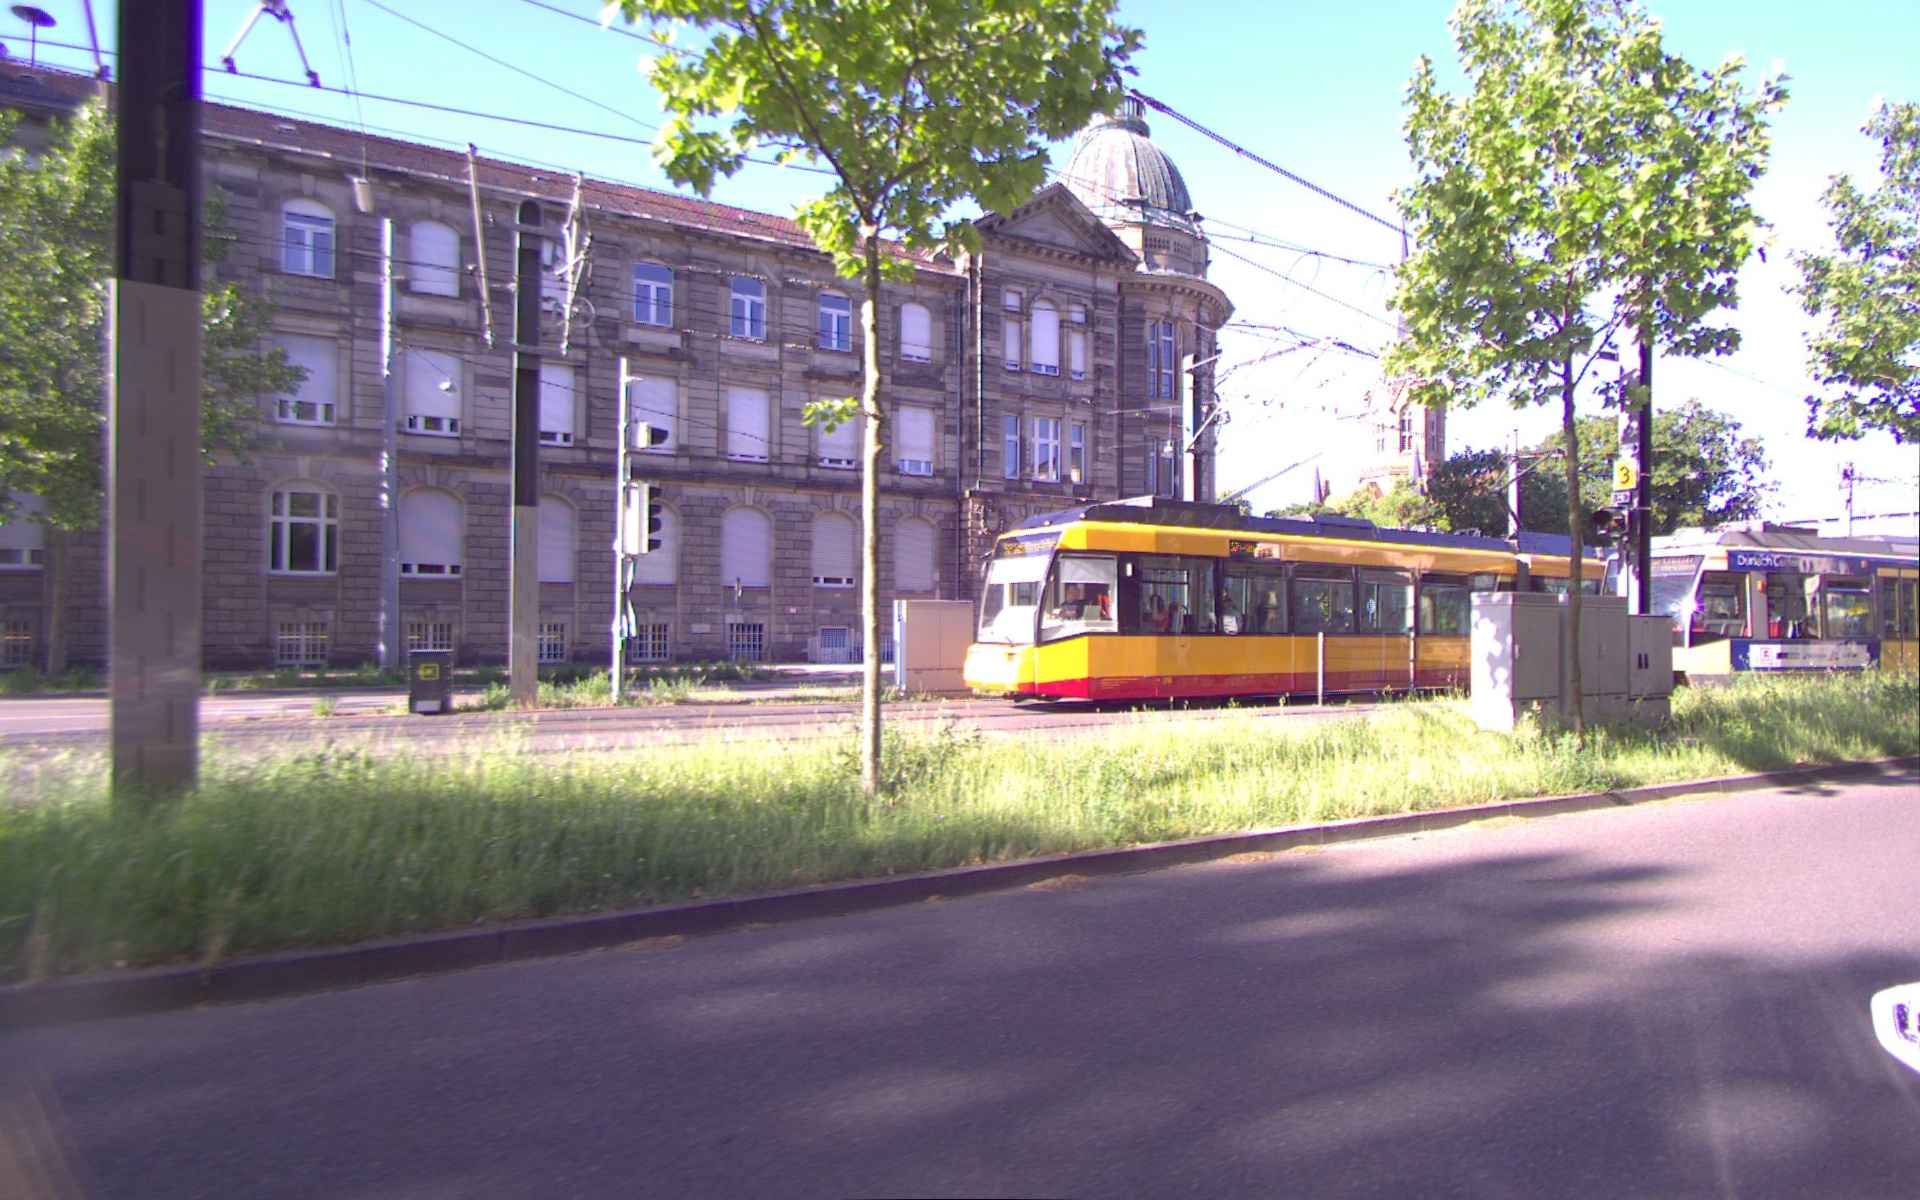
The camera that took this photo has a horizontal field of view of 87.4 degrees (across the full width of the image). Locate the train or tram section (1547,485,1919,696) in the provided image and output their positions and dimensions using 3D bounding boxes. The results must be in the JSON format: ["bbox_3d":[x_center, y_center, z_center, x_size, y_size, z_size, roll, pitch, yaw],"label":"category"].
[{"bbox_3d":[19.425,-0.002,22.239,14.061,3.863,2.924,2,0,-21],"label":"train or tram section"}]

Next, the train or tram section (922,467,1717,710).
[{"bbox_3d":[9.153,0.017,21.134,20.967,3.530,2.949,1,0,-30],"label":"train or tram section"}]
